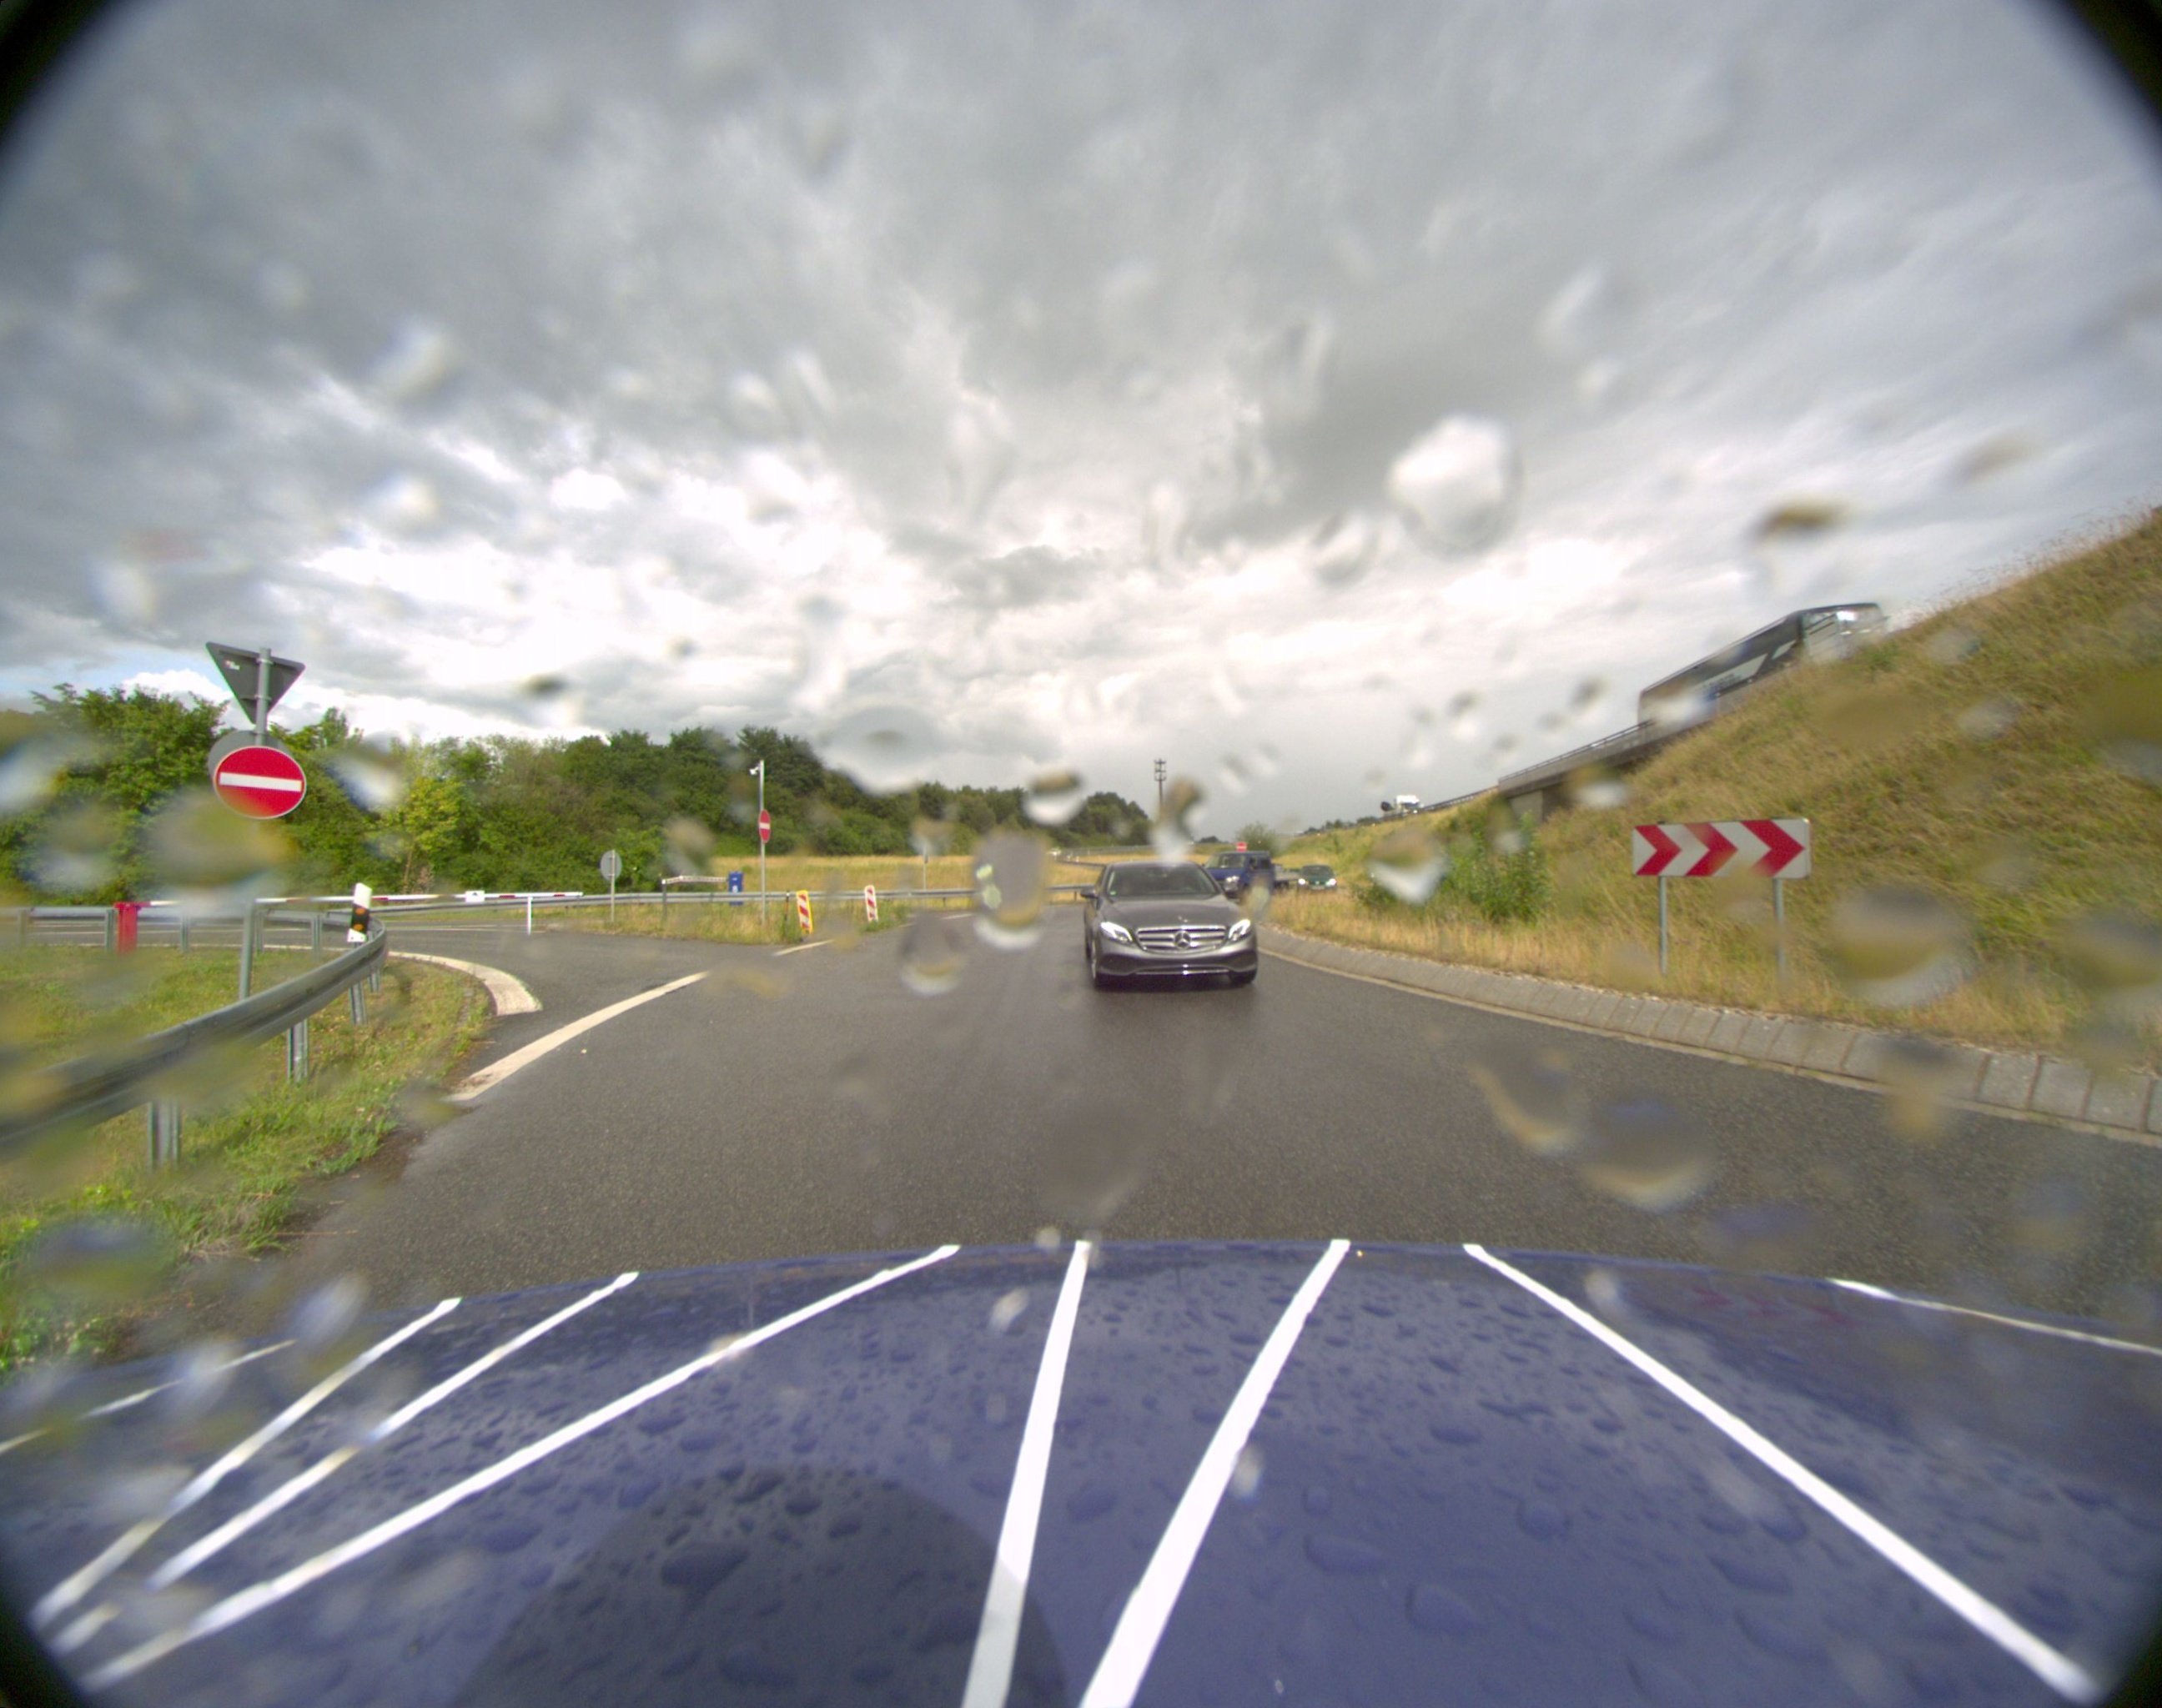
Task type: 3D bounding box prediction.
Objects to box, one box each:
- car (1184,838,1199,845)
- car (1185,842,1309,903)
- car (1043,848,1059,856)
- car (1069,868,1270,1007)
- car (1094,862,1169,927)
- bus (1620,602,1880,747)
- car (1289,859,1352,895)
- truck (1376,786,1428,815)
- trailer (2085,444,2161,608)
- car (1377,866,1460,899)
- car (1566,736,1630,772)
[{"bbox_3d":[29.179,-3.256,200.738,1.762,1.633,3.902,-2,0,43],"label":"car"},{"bbox_3d":[6.382,0.633,28.666,1.888,1.904,5.692,-3,1,42],"label":"car"},{"bbox_3d":[-5.714,-0.355,143.706,1.979,1.527,3.922,0,0,-20],"label":"car"},{"bbox_3d":[0.885,0.918,10.087,1.771,1.383,4.590,-1,-2,-5],"label":"car"},{"bbox_3d":[1.475,1.015,20.916,1.796,1.390,4.350,2,2,6],"label":"car"},{"bbox_3d":[28.791,-7.374,34.114,2.608,3.061,14.480,-2,0,15],"label":"bus"},{"bbox_3d":[10.577,0.969,33.370,1.770,1.476,3.841,0,0,31],"label":"car"},{"bbox_3d":[43.892,-7.245,104.386,3.159,3.175,9.279,-2,0,0],"label":"truck"},{"bbox_3d":[22.405,-6.972,12.857,2.182,2.854,8.342,-2,0,19],"label":"trailer"},{"bbox_3d":[16.221,1.334,36.525,3.935,1.527,1.569,0,0,-29],"label":"car"},{"bbox_3d":[34.086,-6.552,50.222,1.711,1.517,4.497,-11,-2,12],"label":"car"}]
